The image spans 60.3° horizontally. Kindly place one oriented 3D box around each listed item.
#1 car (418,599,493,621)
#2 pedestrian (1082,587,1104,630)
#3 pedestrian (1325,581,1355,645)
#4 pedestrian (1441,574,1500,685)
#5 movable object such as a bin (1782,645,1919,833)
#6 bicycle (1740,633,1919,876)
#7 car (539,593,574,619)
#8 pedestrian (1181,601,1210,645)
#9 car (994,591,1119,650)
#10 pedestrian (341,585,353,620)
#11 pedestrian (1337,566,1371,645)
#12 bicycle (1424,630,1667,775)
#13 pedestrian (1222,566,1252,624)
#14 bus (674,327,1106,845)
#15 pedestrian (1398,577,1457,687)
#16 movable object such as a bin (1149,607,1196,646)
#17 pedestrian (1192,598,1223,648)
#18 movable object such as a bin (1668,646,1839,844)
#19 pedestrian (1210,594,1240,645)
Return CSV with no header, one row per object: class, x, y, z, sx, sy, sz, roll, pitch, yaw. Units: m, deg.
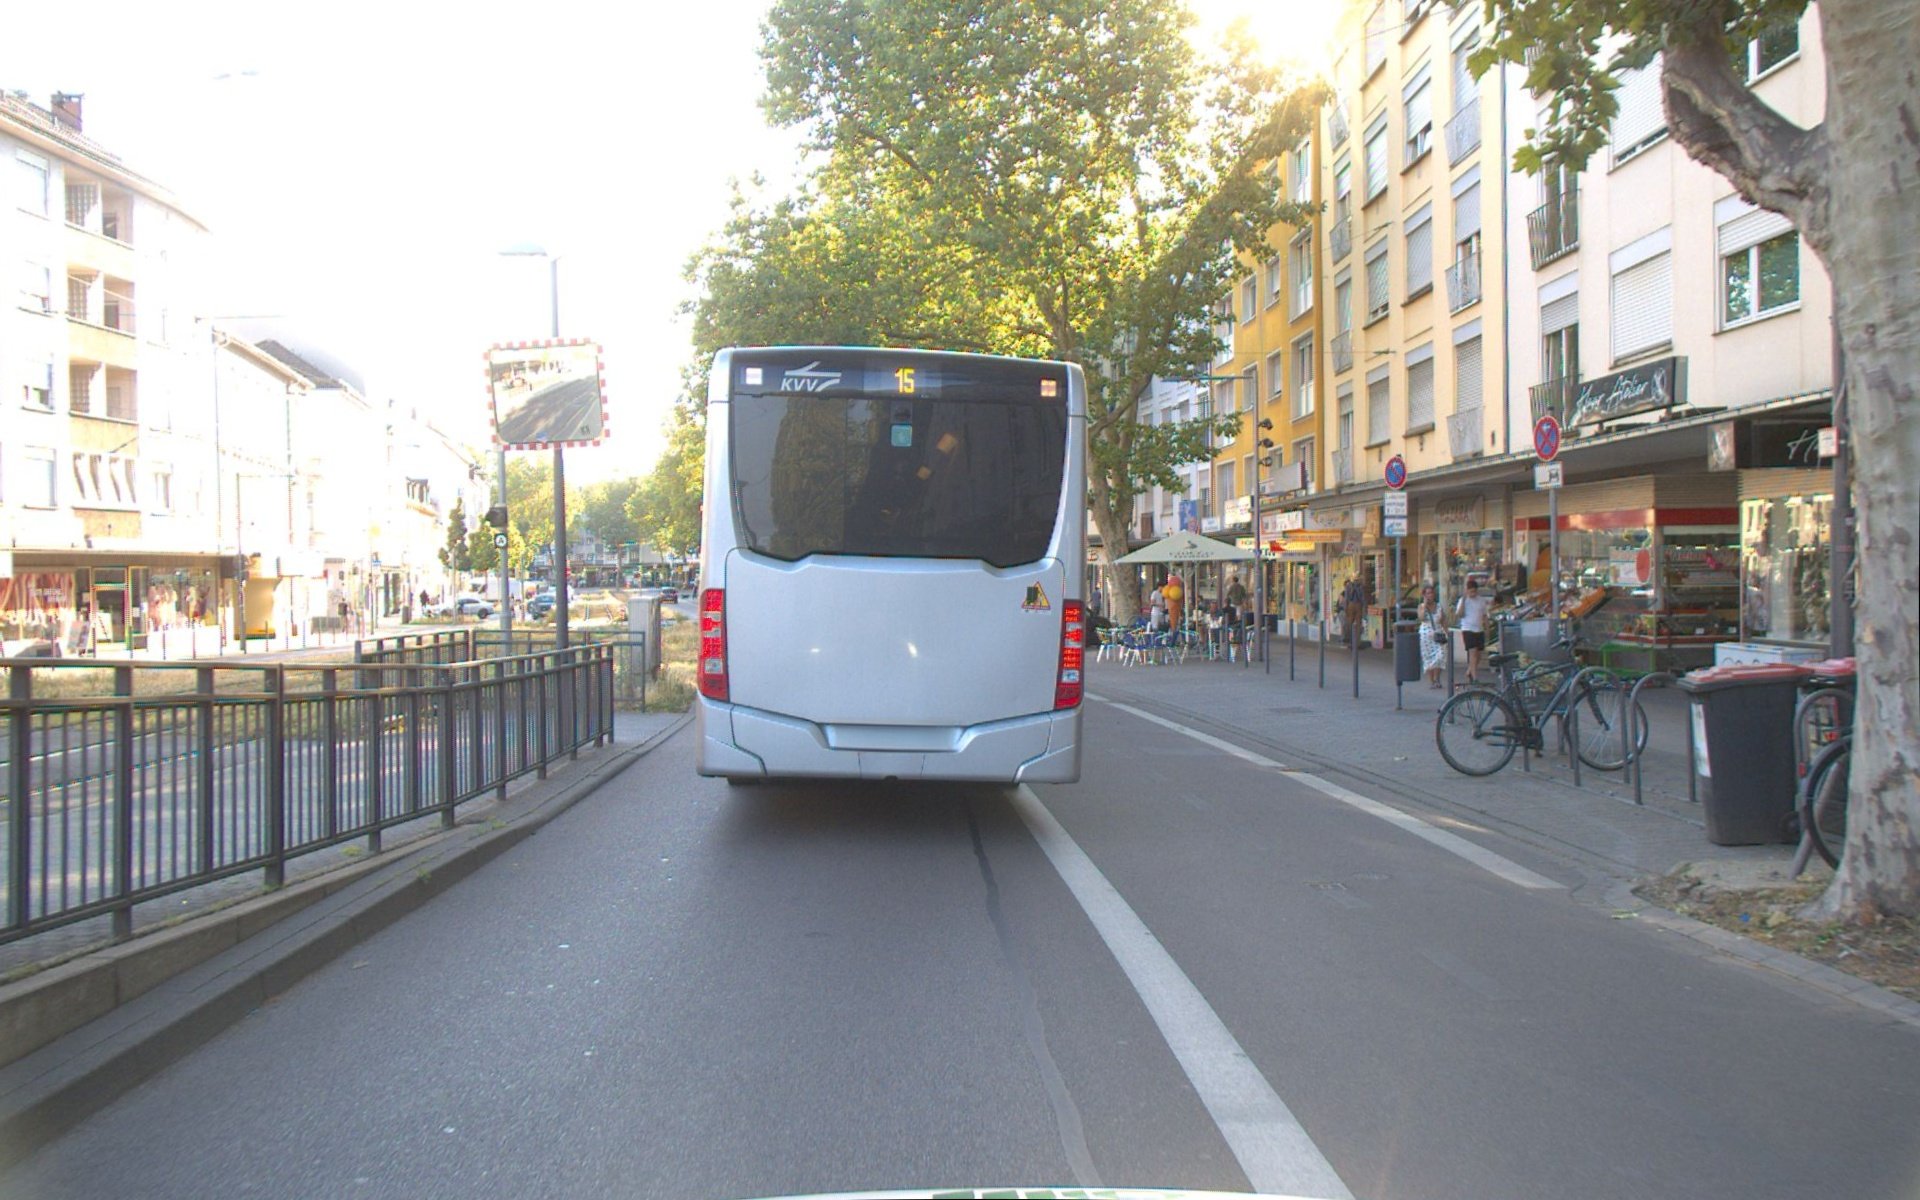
car,-34.046,0.669,111.697,4.517,1.437,1.968,-1,0,-44
pedestrian,5.710,0.372,70.853,0.765,1.825,0.763,-1,0,-8
pedestrian,9.337,0.317,40.638,0.612,1.573,0.637,-1,0,23
pedestrian,7.725,0.439,25.026,0.609,1.614,0.626,-3,0,-2
movable object such as a bin,5.719,0.855,10.413,0.708,1.090,0.644,-3,0,-3
bicycle,4.874,0.753,8.160,1.682,1.137,0.745,1,-3,0
car,-25.747,0.374,105.649,1.690,1.535,3.471,-3,1,-6
pedestrian,6.206,0.608,43.541,0.572,1.135,0.750,1,0,-7
car,2.783,0.554,47.219,1.710,1.567,3.587,-1,0,41
pedestrian,-31.009,0.109,83.645,0.417,1.743,0.507,-1,0,-4
pedestrian,9.284,0.121,38.979,0.623,1.835,0.626,-1,0,28
bicycle,5.052,0.883,14.345,1.867,1.124,0.518,-3,0,6
pedestrian,8.962,-0.171,53.473,0.692,1.822,0.787,-4,0,-2
bus,-0.645,-0.113,13.664,2.625,3.137,7.109,0,0,-4
pedestrian,7.073,0.473,25.020,0.622,1.614,0.626,-3,0,-2
movable object such as a bin,5.702,0.711,44.421,0.916,1.041,0.831,1,0,-30
pedestrian,6.161,0.567,41.182,0.594,1.246,0.744,-1,0,-7
movable object such as a bin,4.918,0.885,10.289,0.707,1.121,0.644,-5,0,6
pedestrian,6.875,0.494,42.902,0.572,1.297,0.758,1,0,-7
